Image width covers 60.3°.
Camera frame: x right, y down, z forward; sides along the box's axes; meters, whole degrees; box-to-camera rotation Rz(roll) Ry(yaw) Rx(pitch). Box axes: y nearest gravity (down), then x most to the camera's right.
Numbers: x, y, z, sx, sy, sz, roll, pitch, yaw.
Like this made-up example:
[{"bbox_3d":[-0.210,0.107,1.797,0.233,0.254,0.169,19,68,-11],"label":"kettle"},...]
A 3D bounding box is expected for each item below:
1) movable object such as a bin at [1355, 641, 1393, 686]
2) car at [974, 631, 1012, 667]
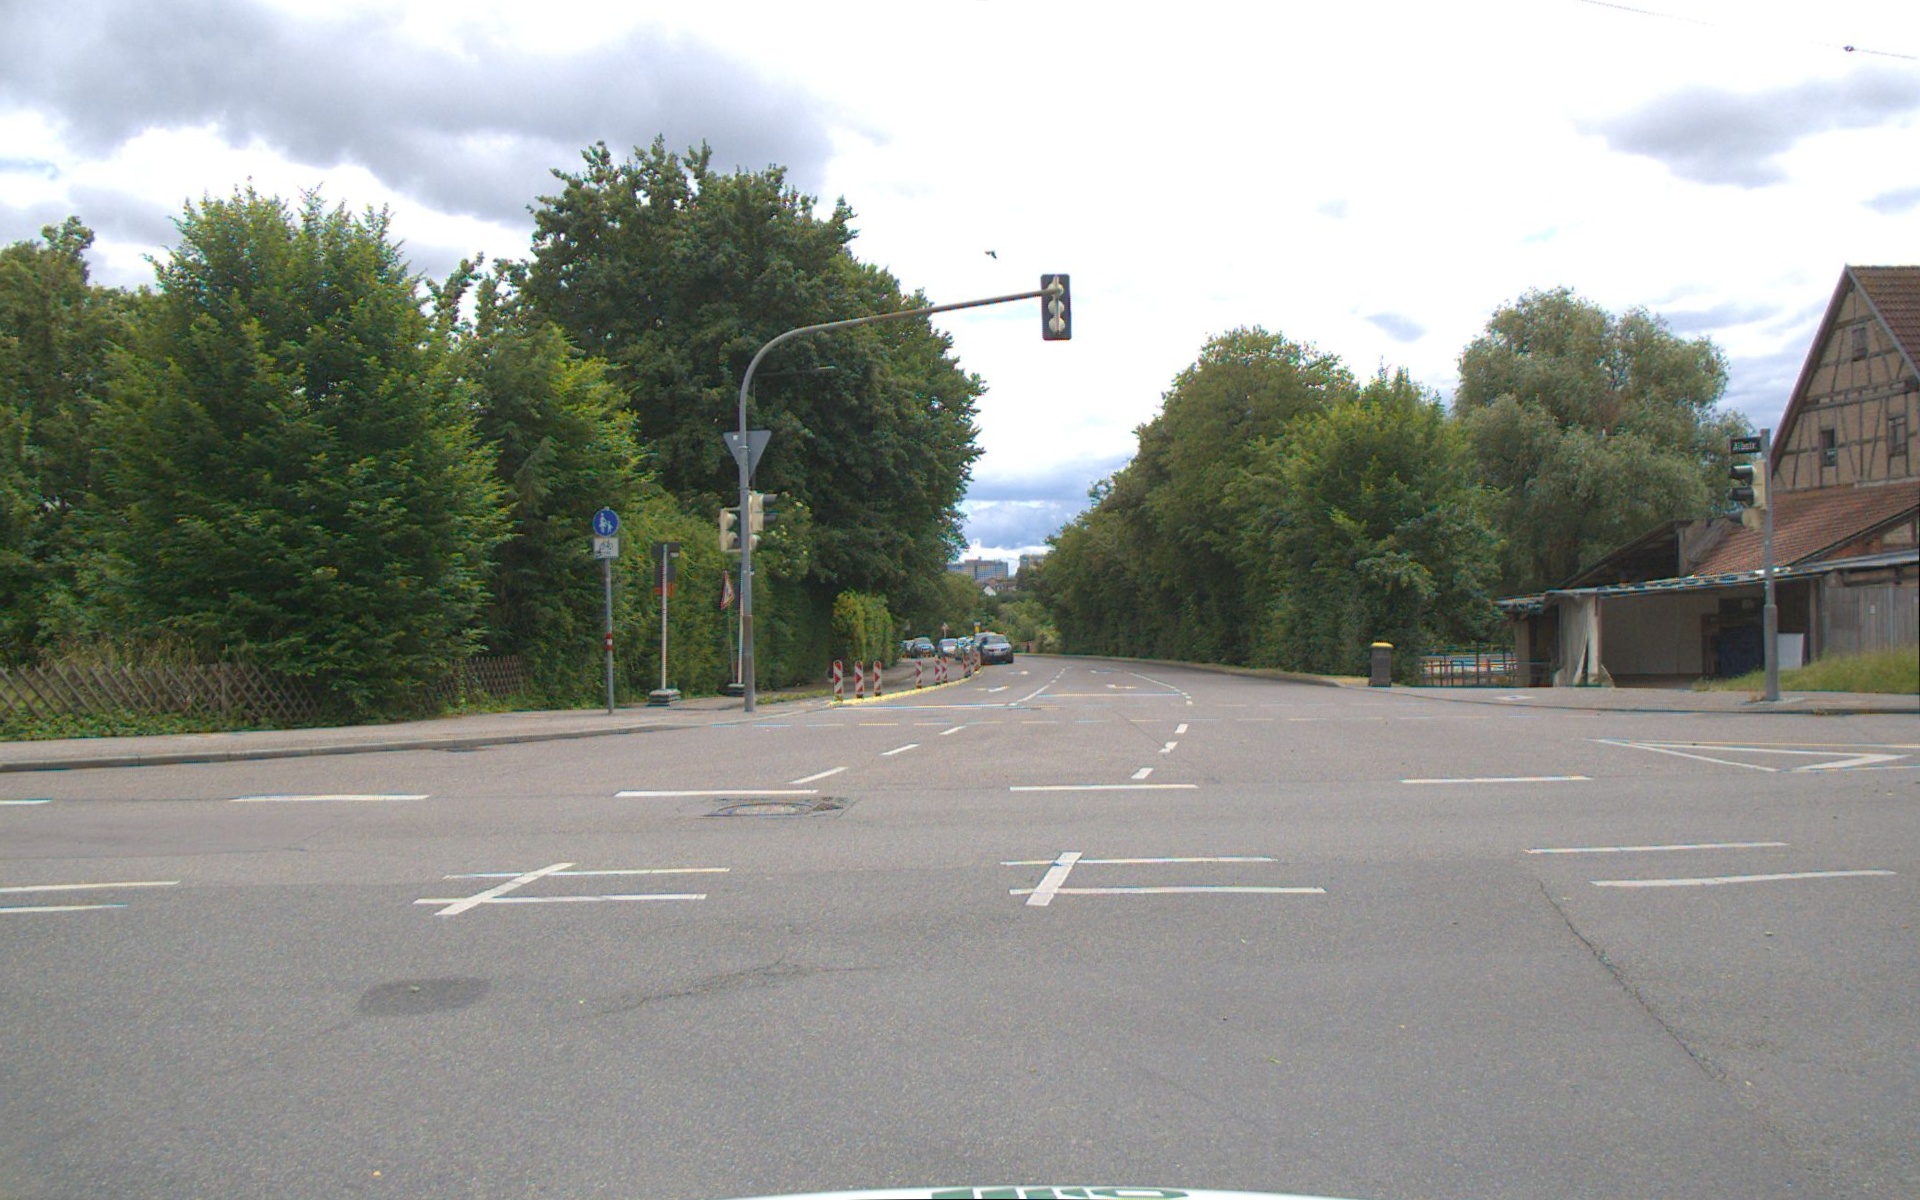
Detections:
[{"bbox_3d":[8.900,1.365,35.543,0.581,0.922,0.600,-2,-1,37],"label":"movable object such as a bin"},{"bbox_3d":[1.789,2.584,88.678,1.952,1.780,4.001,-2,0,2],"label":"car"}]
